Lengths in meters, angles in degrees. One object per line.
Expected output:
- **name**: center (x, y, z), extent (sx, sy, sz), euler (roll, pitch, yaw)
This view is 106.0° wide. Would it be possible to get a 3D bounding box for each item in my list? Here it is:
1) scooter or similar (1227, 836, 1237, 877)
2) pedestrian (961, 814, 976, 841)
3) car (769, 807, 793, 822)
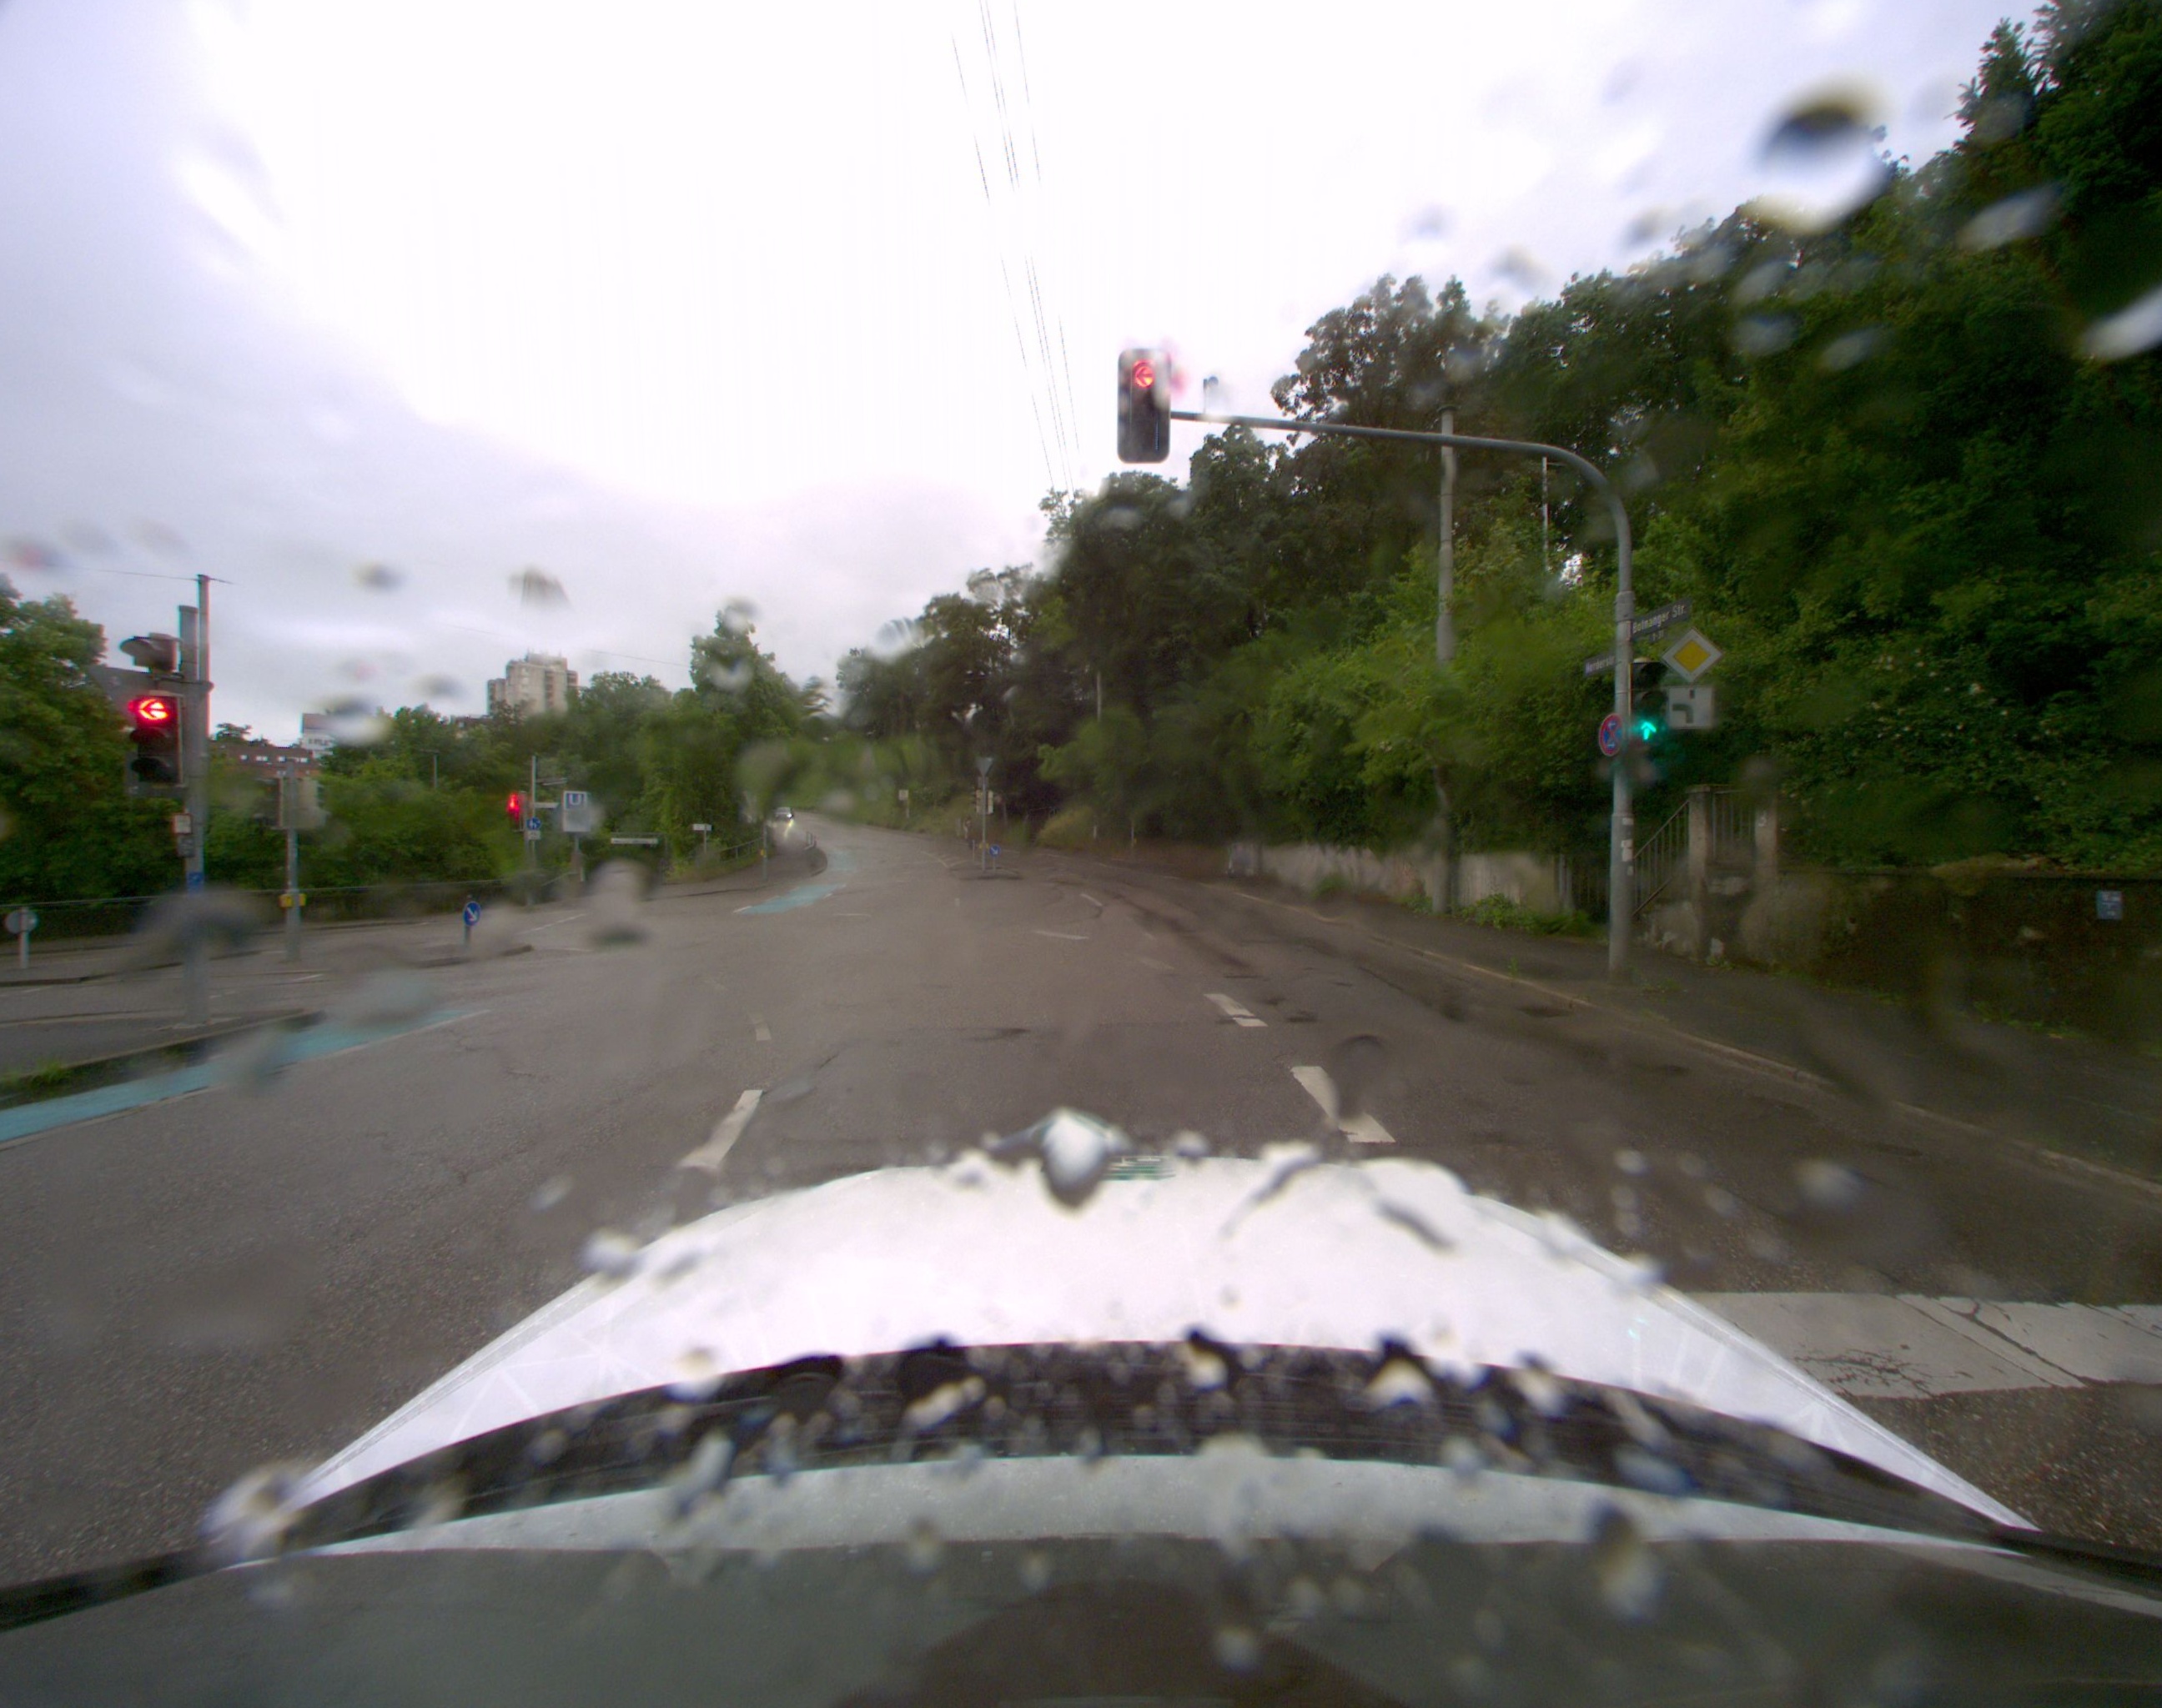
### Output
- **scooter or similar**: center (4.910, 0.066, 26.489), extent (0.320, 1.279, 0.754), euler (-1, 2, 10)
- **pedestrian**: center (-7.583, -1.759, 54.730), extent (0.882, 1.736, 0.861), euler (0, -1, -15)
- **car**: center (-31.167, -4.086, 84.641), extent (1.960, 1.511, 4.382), euler (0, 3, -16)
